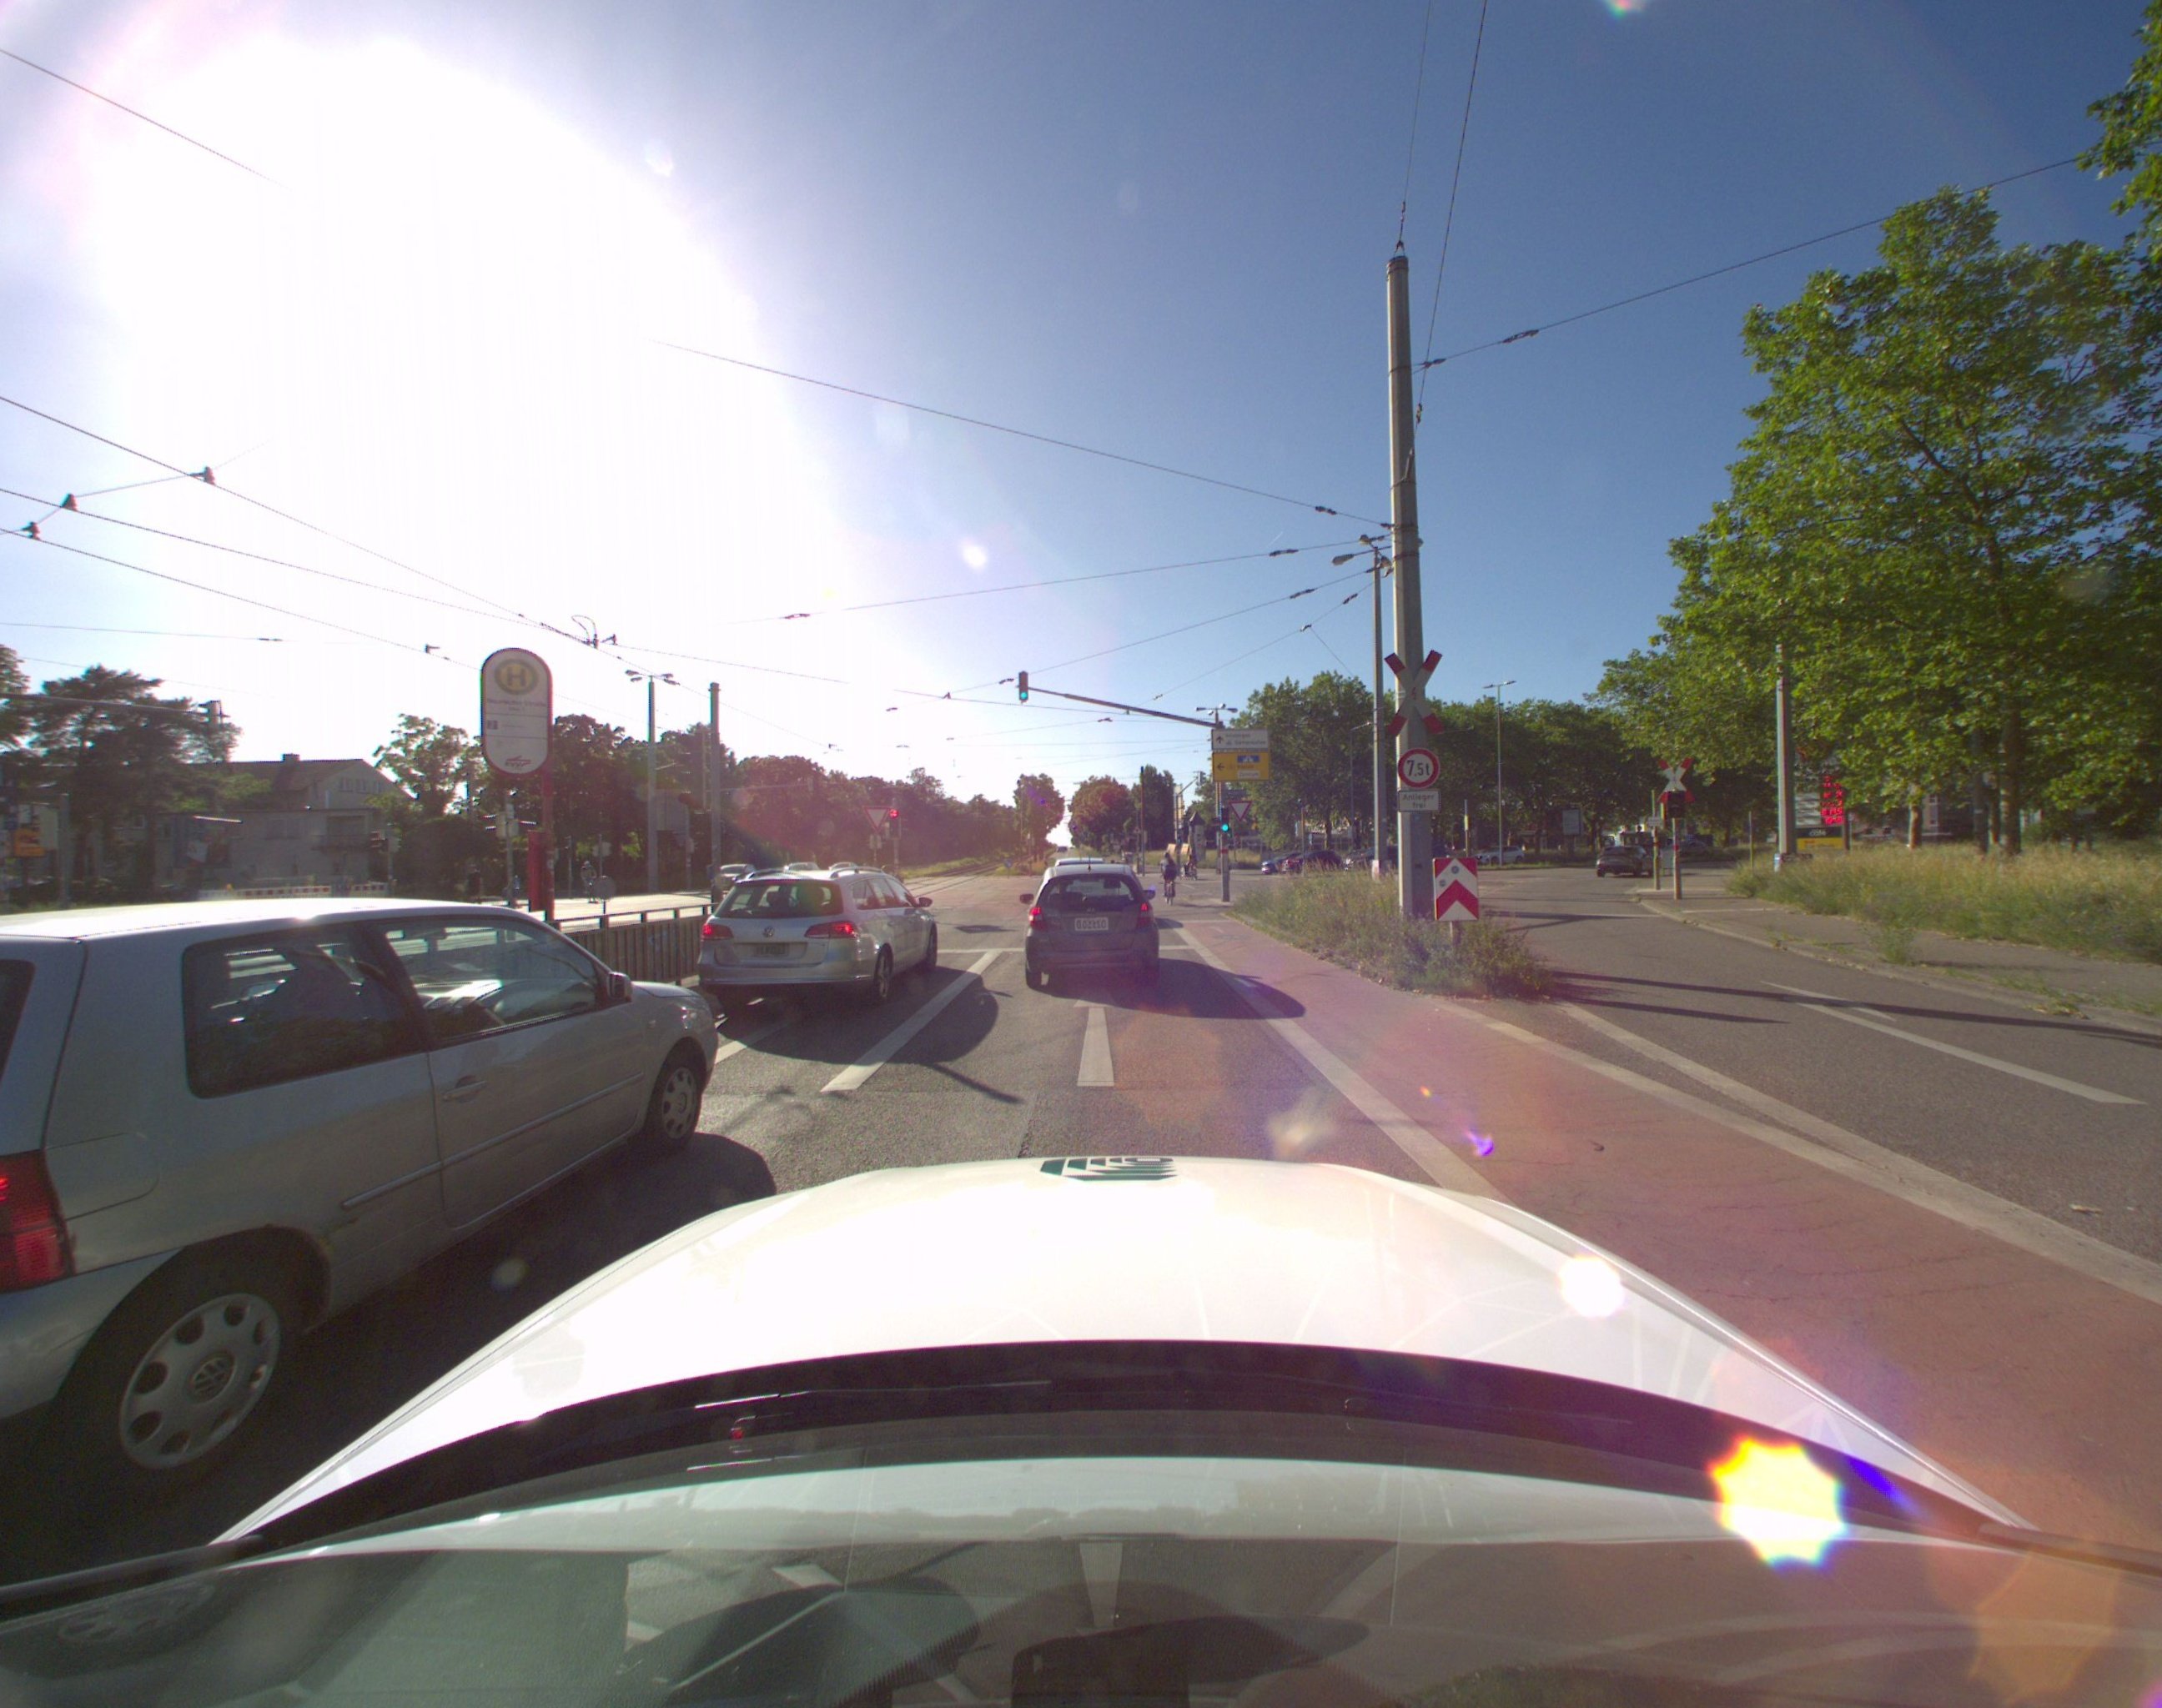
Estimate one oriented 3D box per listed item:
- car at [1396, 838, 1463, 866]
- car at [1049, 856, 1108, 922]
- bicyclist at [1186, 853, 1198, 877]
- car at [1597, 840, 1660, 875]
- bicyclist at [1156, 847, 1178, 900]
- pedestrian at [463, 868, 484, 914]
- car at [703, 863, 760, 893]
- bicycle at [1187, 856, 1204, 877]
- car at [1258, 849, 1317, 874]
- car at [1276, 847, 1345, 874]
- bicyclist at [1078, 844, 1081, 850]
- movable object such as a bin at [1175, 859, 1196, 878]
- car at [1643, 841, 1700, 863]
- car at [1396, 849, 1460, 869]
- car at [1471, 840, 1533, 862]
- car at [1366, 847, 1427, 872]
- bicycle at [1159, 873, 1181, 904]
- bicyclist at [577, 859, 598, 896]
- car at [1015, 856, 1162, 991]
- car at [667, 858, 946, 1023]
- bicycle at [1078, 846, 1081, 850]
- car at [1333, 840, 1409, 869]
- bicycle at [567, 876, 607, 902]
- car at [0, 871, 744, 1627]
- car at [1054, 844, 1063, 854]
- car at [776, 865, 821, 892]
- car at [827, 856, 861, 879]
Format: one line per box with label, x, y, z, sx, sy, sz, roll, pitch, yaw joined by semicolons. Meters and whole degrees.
car;27.675;-0.158;64.720;5.132;2.070;2.111;-1;0;-28
car;-0.059;0.836;20.802;1.347;1.527;3.123;-2;0;0
bicyclist;6.294;0.619;46.000;0.509;1.340;0.564;-2;0;-7
car;27.793;0.154;41.316;3.794;1.704;1.805;-1;0;-43
bicyclist;2.817;0.627;26.742;0.613;1.679;0.933;-2;-1;0
pedestrian;-25.972;1.571;34.826;0.615;1.948;0.767;-1;0;-43
car;-18.406;1.251;43.044;1.681;1.458;3.696;-2;0;-6
bicycle;6.359;0.685;45.240;0.466;1.119;1.815;-1;0;-7
car;14.448;0.501;56.955;3.869;1.600;1.698;-2;0;-27
car;14.892;0.408;52.811;4.095;1.600;1.802;-2;0;-23
bicyclist;-0.499;-1.934;218.001;0.815;1.524;0.966;0;-1;0
movable object such as a bin;6.058;0.831;47.285;0.908;1.068;1.313;-2;0;-7
car;46.264;-0.180;63.787;4.008;1.618;1.983;-1;-1;-26
car;26.475;0.378;62.090;4.579;1.408;1.918;-1;-1;-26
car;33.514;-0.240;64.810;4.785;1.682;1.892;0;-1;-26
car;21.714;0.355;56.045;3.864;1.600;1.700;-1;-1;-23
bicycle;2.928;1.127;26.937;0.522;0.923;2.090;-2;0;2
bicyclist;-21.766;1.037;35.926;0.488;1.608;0.648;-2;0;1
car;0.140;0.811;11.297;1.664;1.515;3.675;-2;0;2
car;-2.999;0.838;10.017;1.871;1.527;4.420;-2;0;0
bicycle;-0.505;-1.562;217.975;0.815;1.048;2.506;0;-1;0
car;18.104;0.030;50.851;4.505;1.711;1.904;-2;0;-27
bicycle;-21.761;1.513;35.889;0.505;1.042;1.949;-2;0;1
car;-2.905;0.847;3.350;1.576;1.468;3.414;-1;0;0
car;-5.120;-1.156;188.028;1.987;2.013;4.000;-2;0;0
car;-18.958;1.617;54.813;1.811;1.596;4.683;-1;0;-6
car;-18.511;1.049;63.871;1.789;1.687;3.994;-2;0;-5
